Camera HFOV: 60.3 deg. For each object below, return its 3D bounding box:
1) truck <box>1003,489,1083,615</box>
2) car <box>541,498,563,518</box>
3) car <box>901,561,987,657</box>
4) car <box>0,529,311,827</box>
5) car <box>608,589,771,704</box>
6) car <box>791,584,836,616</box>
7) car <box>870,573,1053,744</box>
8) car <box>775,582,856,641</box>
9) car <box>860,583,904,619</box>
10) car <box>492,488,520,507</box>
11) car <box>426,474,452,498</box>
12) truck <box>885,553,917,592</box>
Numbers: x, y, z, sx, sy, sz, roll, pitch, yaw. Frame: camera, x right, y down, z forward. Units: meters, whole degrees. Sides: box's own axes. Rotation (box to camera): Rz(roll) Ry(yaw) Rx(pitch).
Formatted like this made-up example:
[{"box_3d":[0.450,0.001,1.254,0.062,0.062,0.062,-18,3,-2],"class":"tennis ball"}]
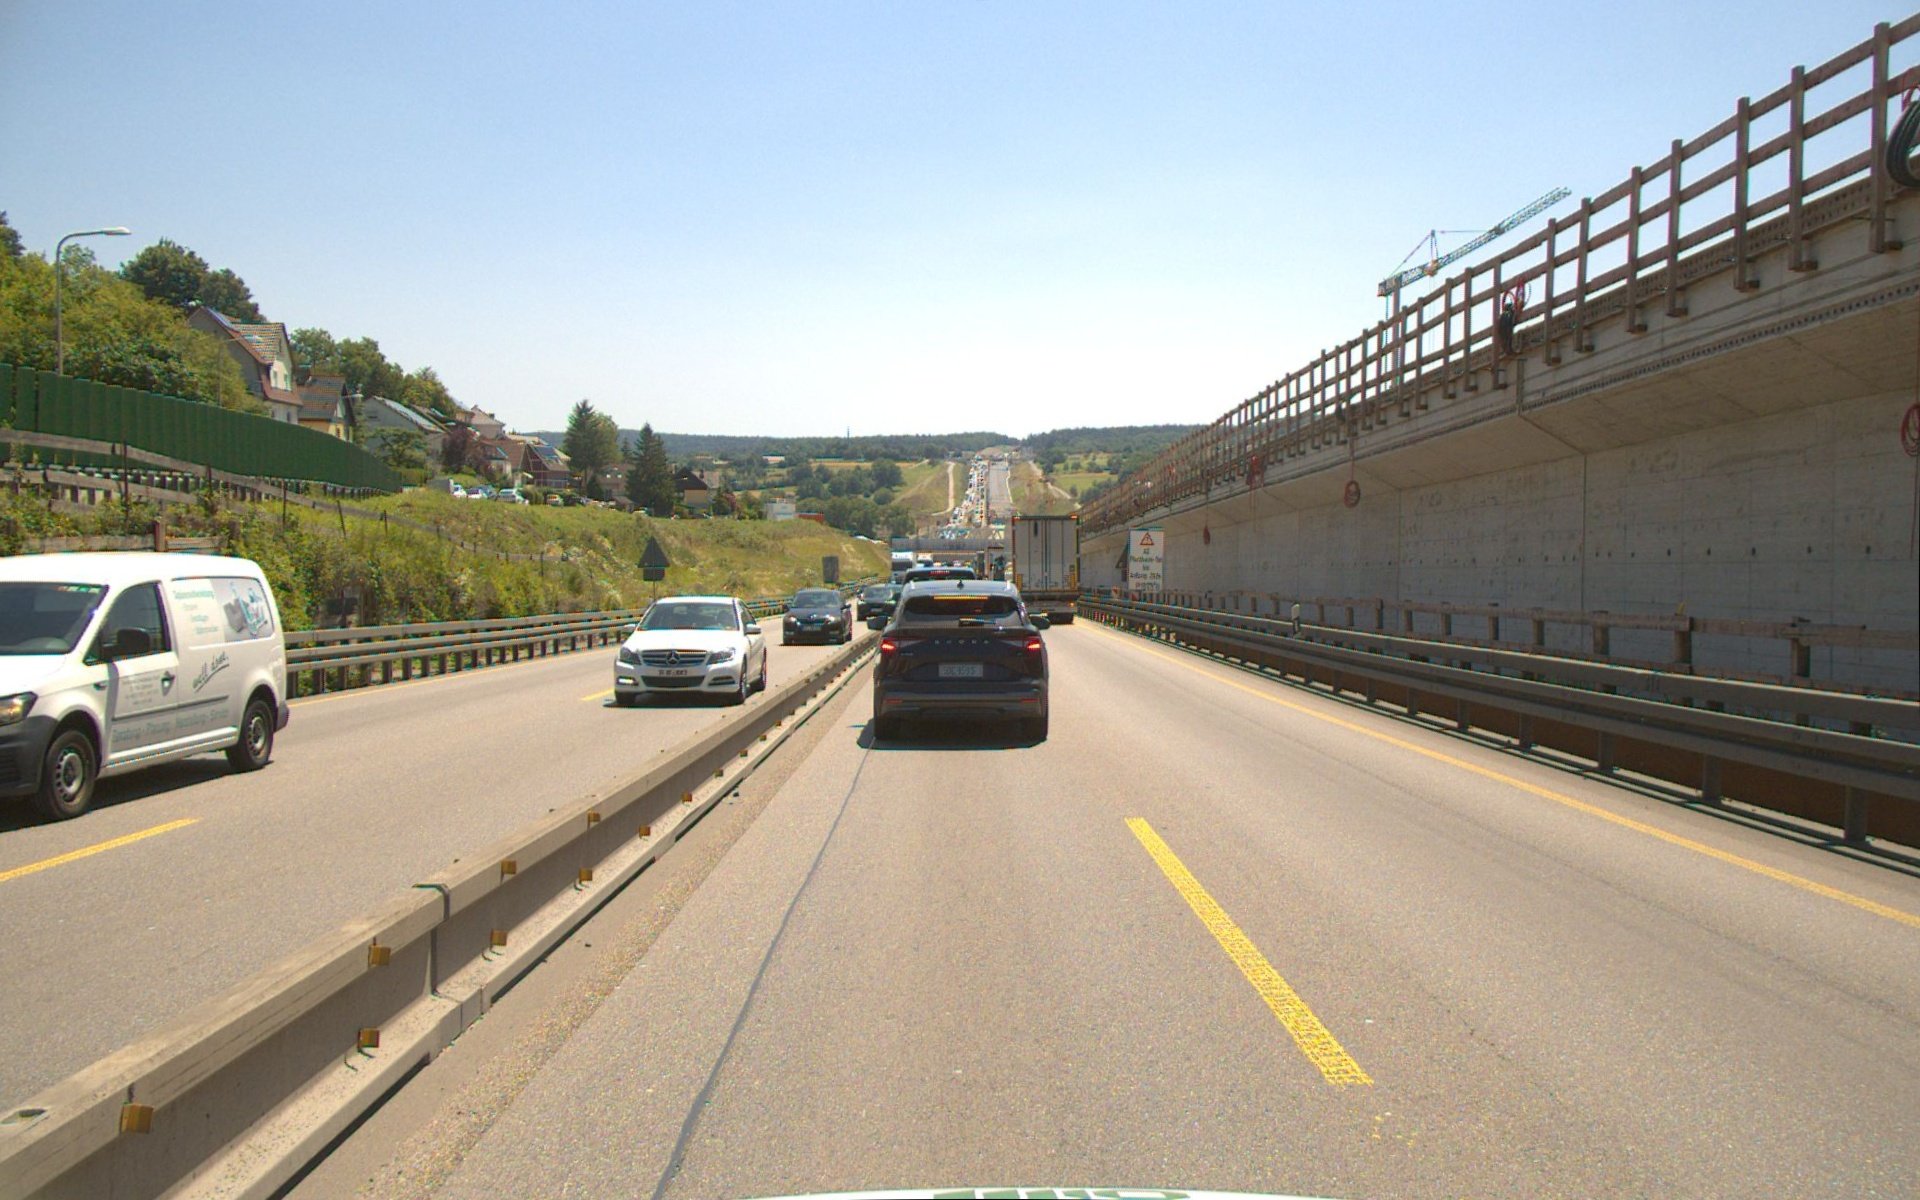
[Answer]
[{"box_3d":[3.232,-1.754,67.446,2.787,4.696,11.811,0,0,1],"class":"truck"},{"box_3d":[-41.060,-9.257,166.539,1.890,1.758,3.991,-1,1,-10],"class":"car"},{"box_3d":[-0.393,0.183,35.936,1.714,1.928,3.753,2,0,-2],"class":"car"},{"box_3d":[-6.703,0.503,12.716,1.564,1.866,4.752,-1,0,0],"class":"car"},{"box_3d":[-3.767,0.613,23.692,1.697,1.463,4.257,1,0,-1],"class":"car"},{"box_3d":[-7.084,0.004,80.289,1.777,1.473,5.005,1,0,-1],"class":"car"},{"box_3d":[-0.014,0.547,17.791,1.746,1.625,3.754,-1,0,-1],"class":"car"},{"box_3d":[-3.919,0.330,45.594,1.573,1.472,4.671,-3,-1,2],"class":"car"},{"box_3d":[-3.490,0.047,74.769,1.805,1.557,4.293,0,0,-1],"class":"car"},{"box_3d":[-40.266,-9.044,146.737,1.958,1.342,3.990,3,0,-11],"class":"car"},{"box_3d":[-36.338,-7.926,115.311,1.701,1.422,3.782,1,0,-18],"class":"car"},{"box_3d":[-6.790,-3.159,189.473,3.119,4.312,6.475,0,0,-7],"class":"truck"}]
